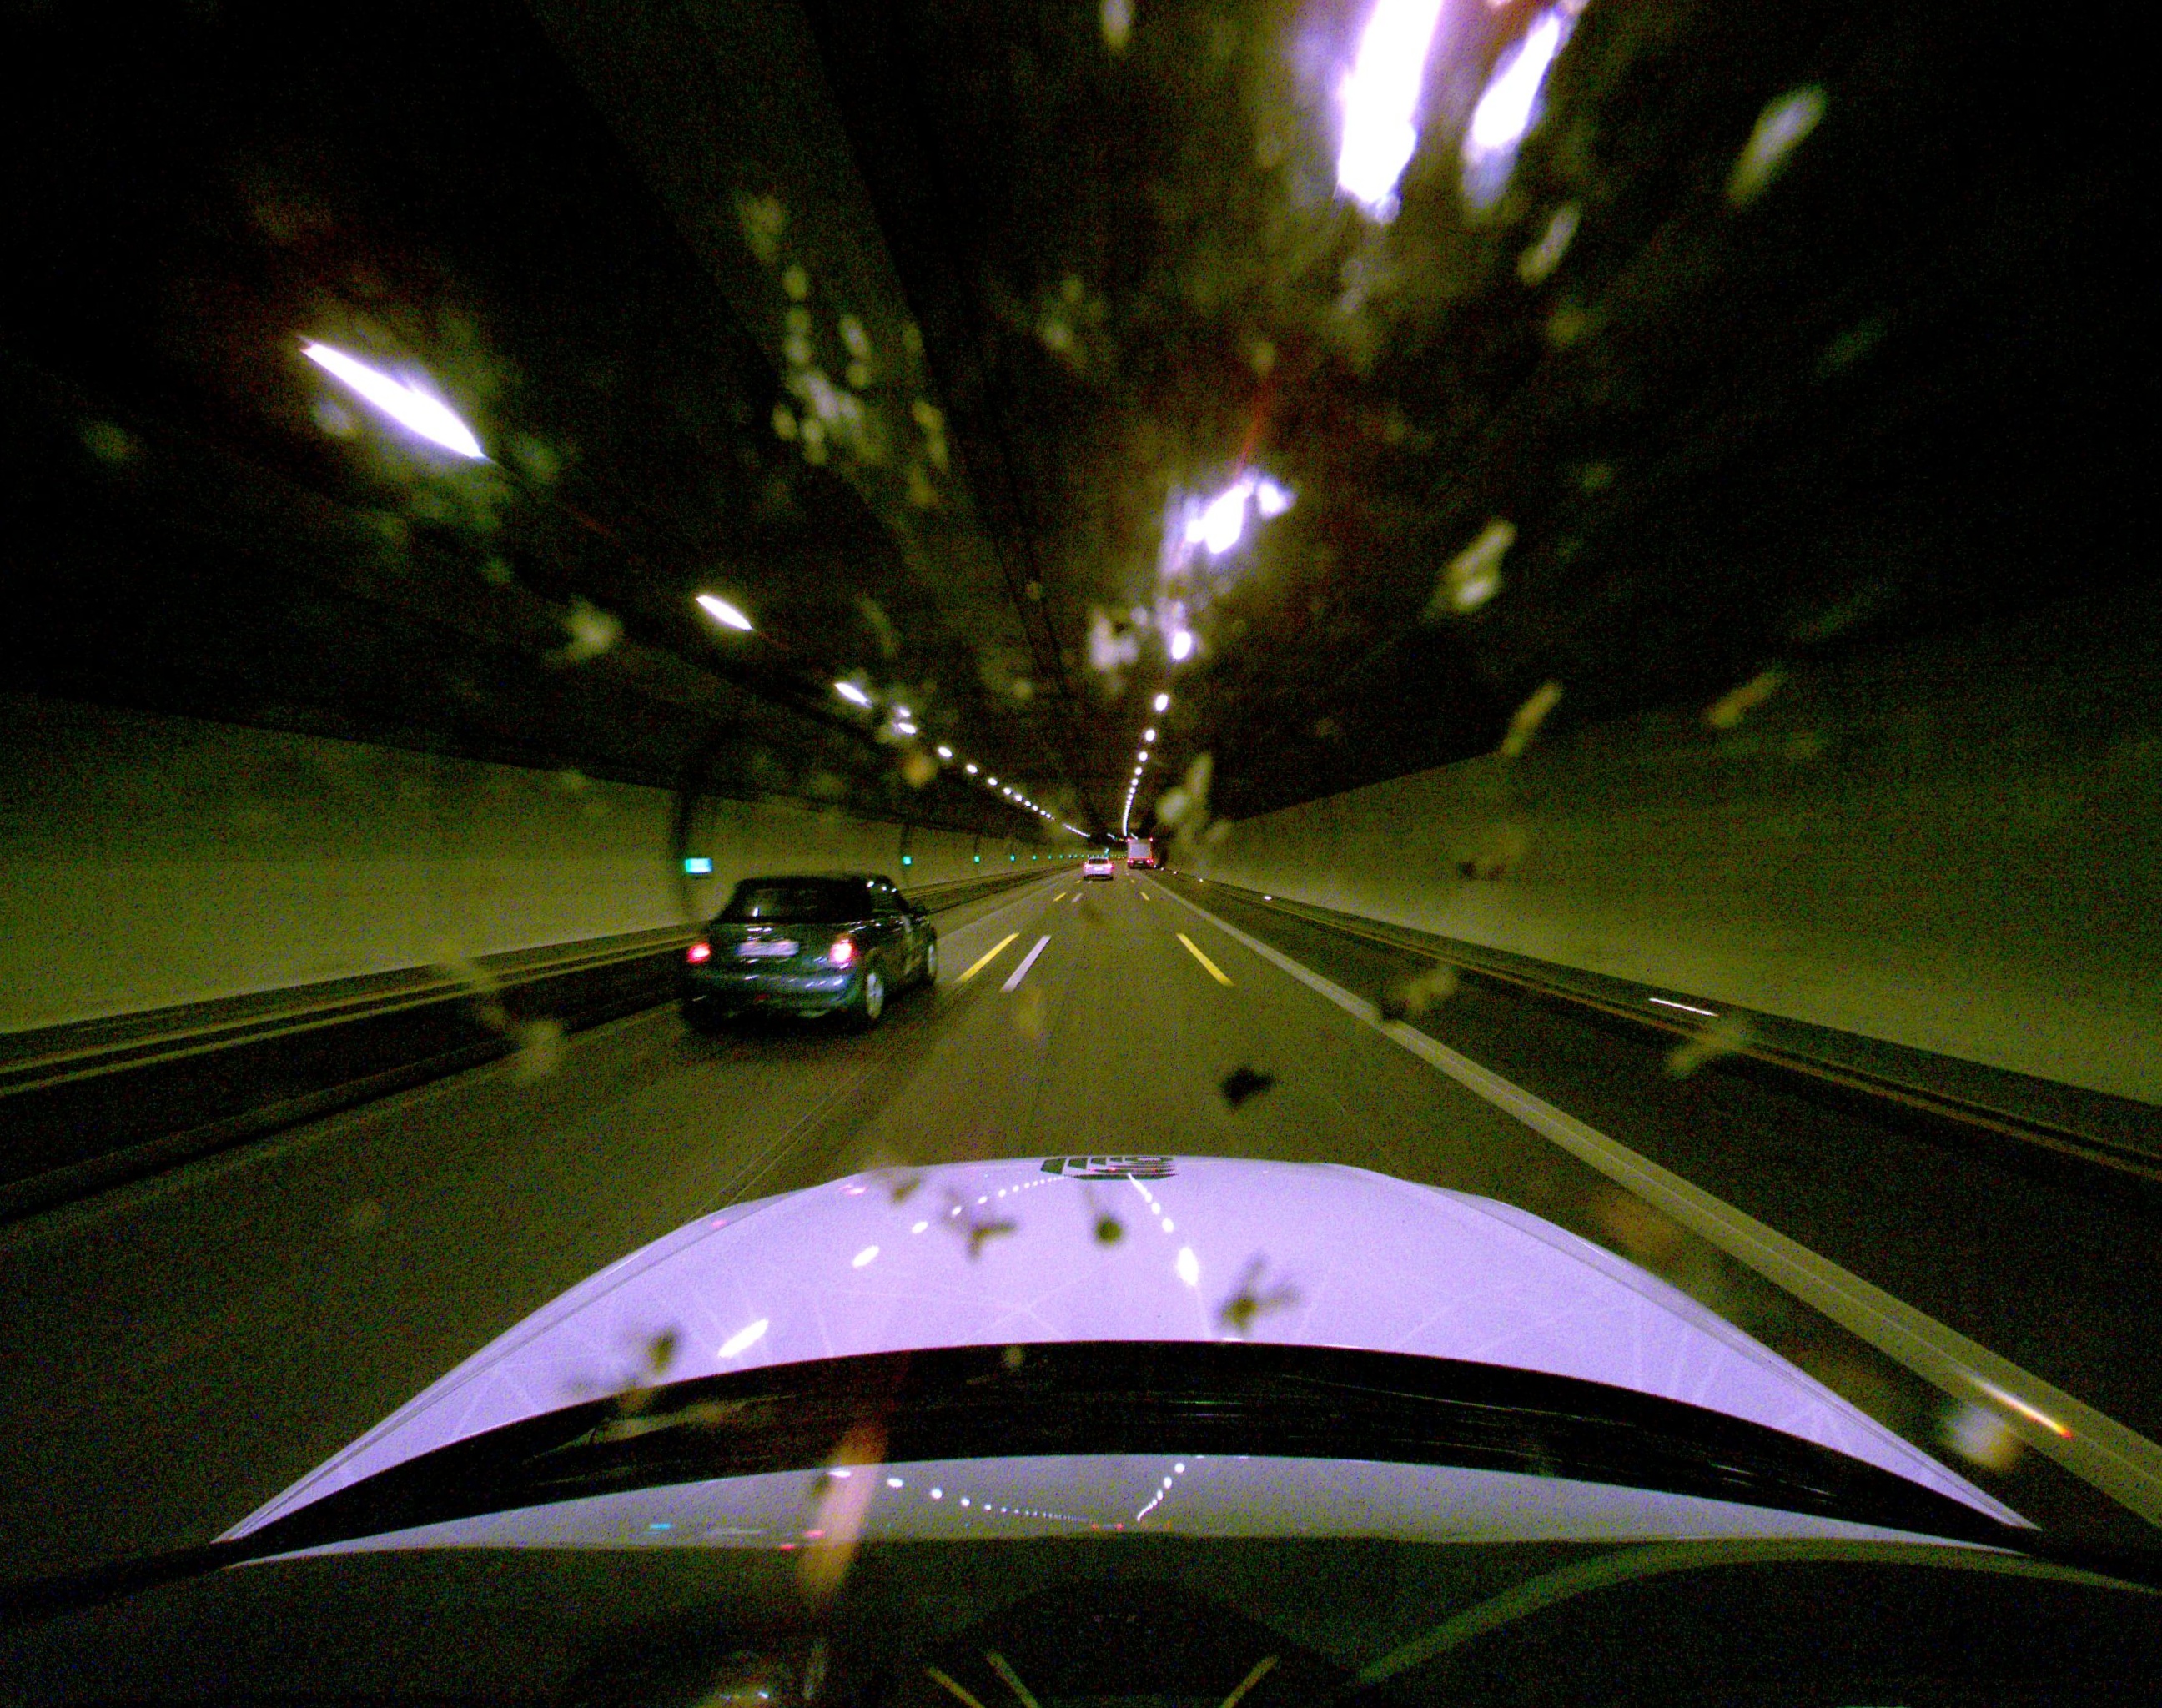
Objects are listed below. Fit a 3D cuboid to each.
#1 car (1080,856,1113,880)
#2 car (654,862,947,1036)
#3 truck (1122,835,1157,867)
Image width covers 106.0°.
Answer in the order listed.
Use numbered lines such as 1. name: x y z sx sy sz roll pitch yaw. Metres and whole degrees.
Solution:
1. car: 1.003 0.860 51.813 1.986 1.413 4.743 0 0 1
2. car: -2.640 0.801 8.696 1.683 1.417 3.924 0 0 1
3. truck: 6.847 -0.296 96.647 3.580 3.650 10.723 0 0 1
